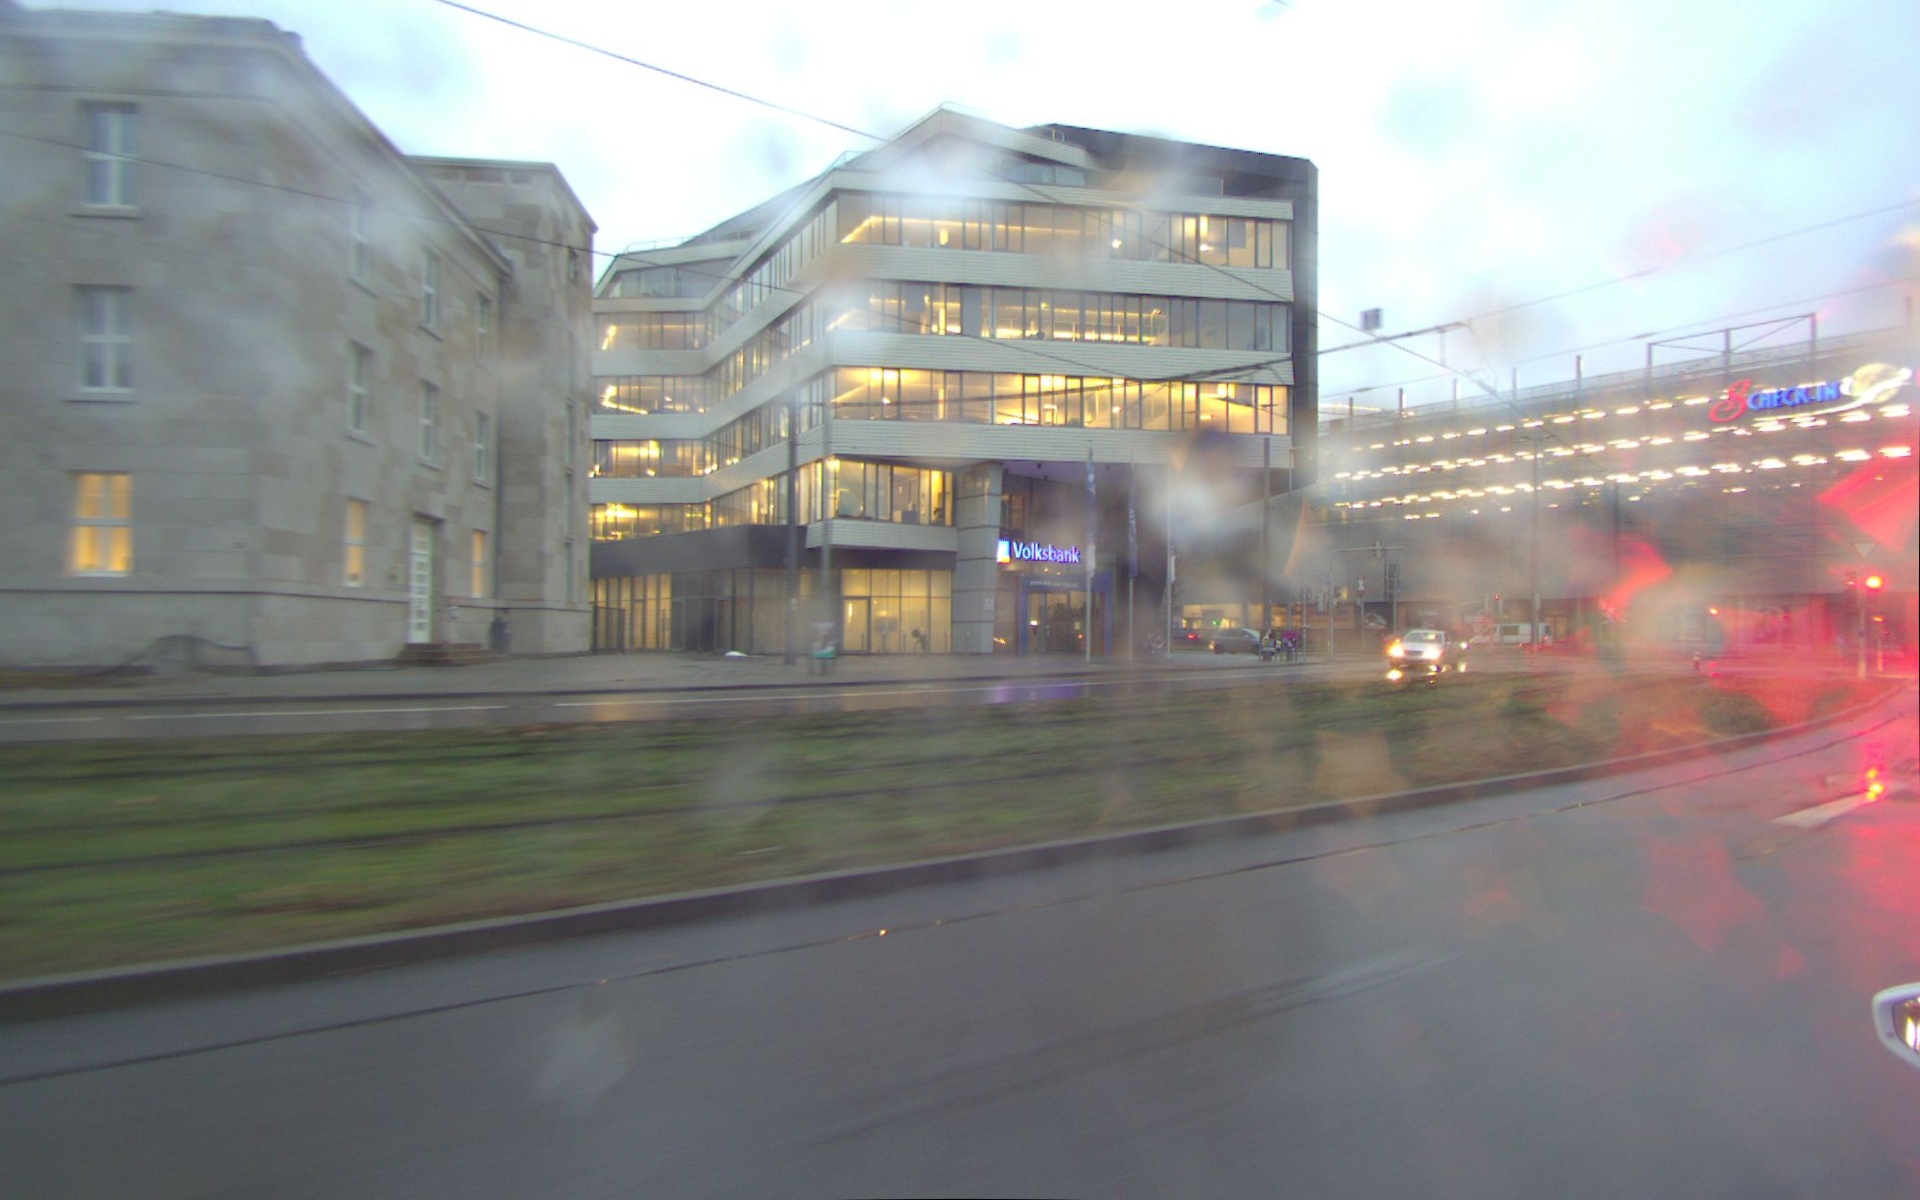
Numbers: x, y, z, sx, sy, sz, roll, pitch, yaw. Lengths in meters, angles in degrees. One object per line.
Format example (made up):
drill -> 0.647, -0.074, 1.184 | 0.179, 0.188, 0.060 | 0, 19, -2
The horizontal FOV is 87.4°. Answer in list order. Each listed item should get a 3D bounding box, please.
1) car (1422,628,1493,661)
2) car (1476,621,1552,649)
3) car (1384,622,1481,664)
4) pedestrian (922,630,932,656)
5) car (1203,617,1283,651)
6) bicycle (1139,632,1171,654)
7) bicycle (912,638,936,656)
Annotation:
car -> 23.785, 2.080, 47.985 | 4.493, 1.419, 1.640 | 1, 1, -45
car -> 44.594, 2.781, 80.905 | 1.879, 1.988, 5.026 | 1, 1, -45
car -> 18.371, 1.627, 38.977 | 4.622, 1.454, 1.803 | 1, 1, -43
pedestrian -> -1.392, 1.833, 42.530 | 0.380, 1.103, 0.325 | 0, -1, -5
car -> 16.232, 1.969, 57.753 | 3.940, 1.899, 1.991 | -2, -2, 40
bicycle -> 9.610, 2.109, 49.425 | 1.593, 1.104, 0.551 | 1, -2, -33
bicycle -> -1.525, 1.975, 42.344 | 0.898, 0.724, 0.482 | 1, -2, -20
